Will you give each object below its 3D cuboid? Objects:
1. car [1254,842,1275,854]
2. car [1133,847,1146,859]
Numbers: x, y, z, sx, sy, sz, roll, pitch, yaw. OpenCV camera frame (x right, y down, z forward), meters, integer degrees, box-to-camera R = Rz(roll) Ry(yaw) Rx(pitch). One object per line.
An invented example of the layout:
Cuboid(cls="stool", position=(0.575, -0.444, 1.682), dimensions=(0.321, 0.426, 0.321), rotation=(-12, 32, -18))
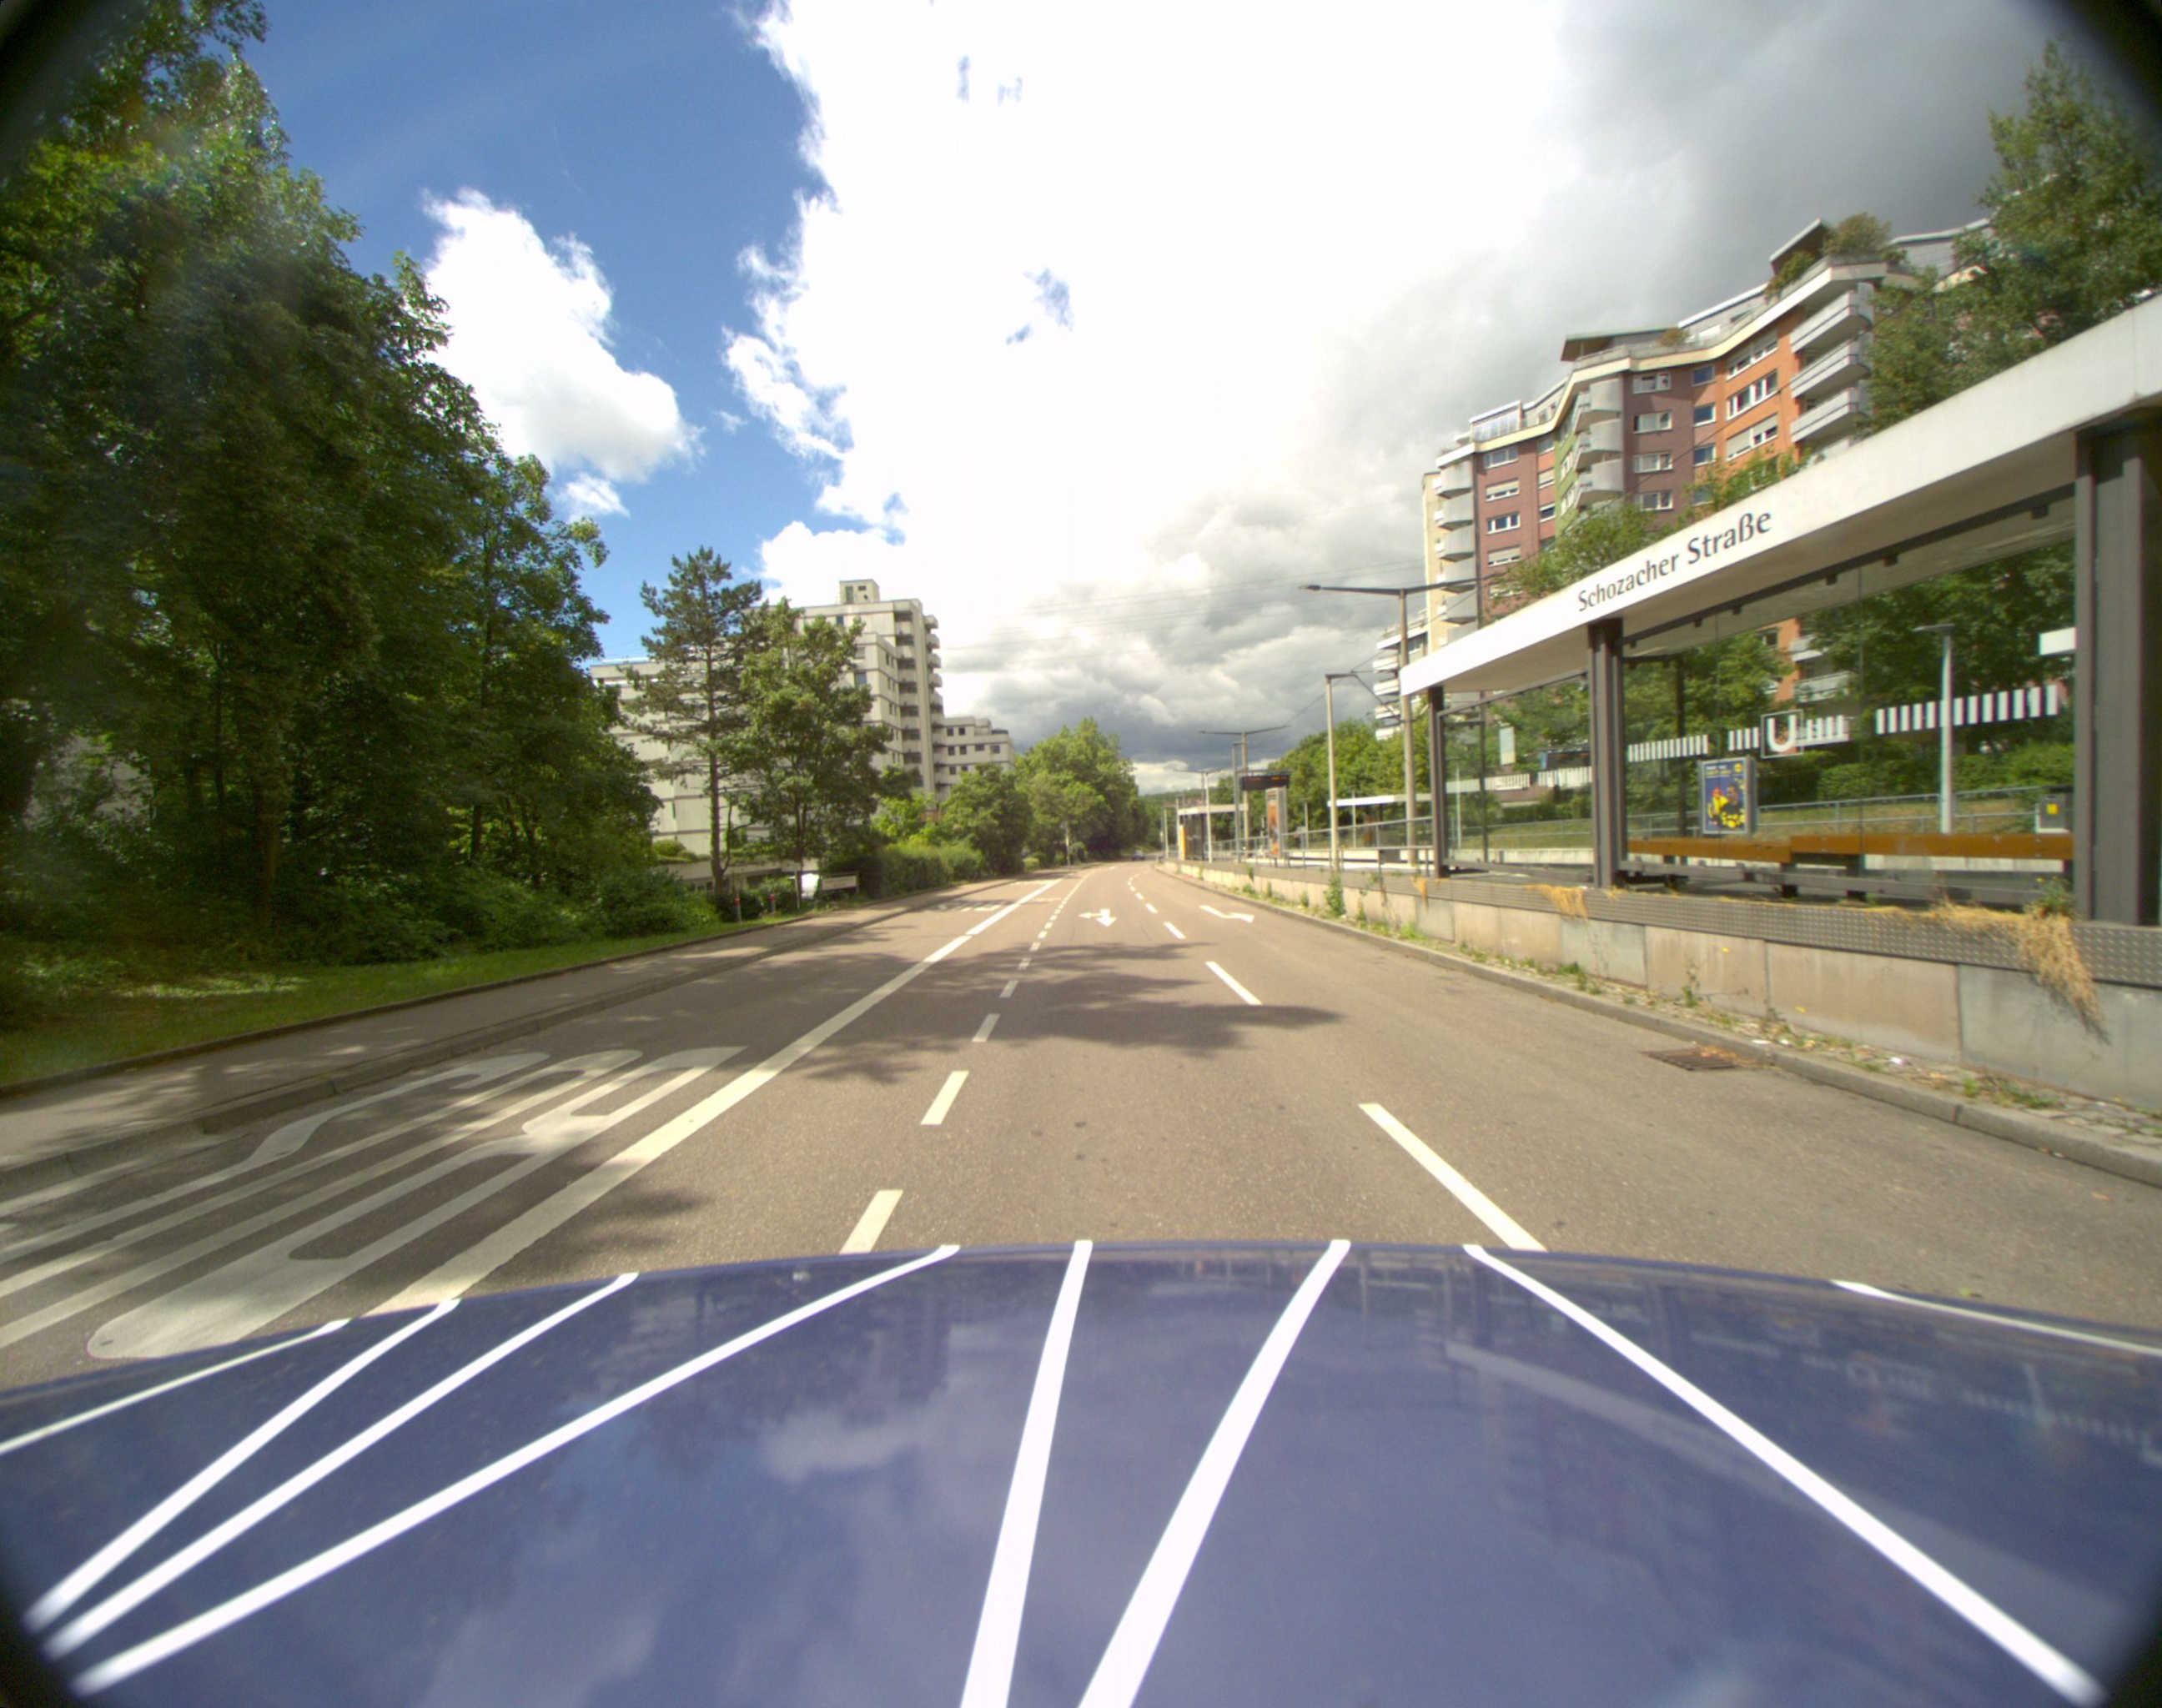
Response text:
Cuboid(cls="car", position=(22.795, -0.716, 94.436), dimensions=(1.658, 1.410, 4.000), rotation=(-2, 1, 1))
Cuboid(cls="car", position=(7.964, -0.193, 103.645), dimensions=(1.736, 1.477, 3.817), rotation=(-2, 1, 5))
